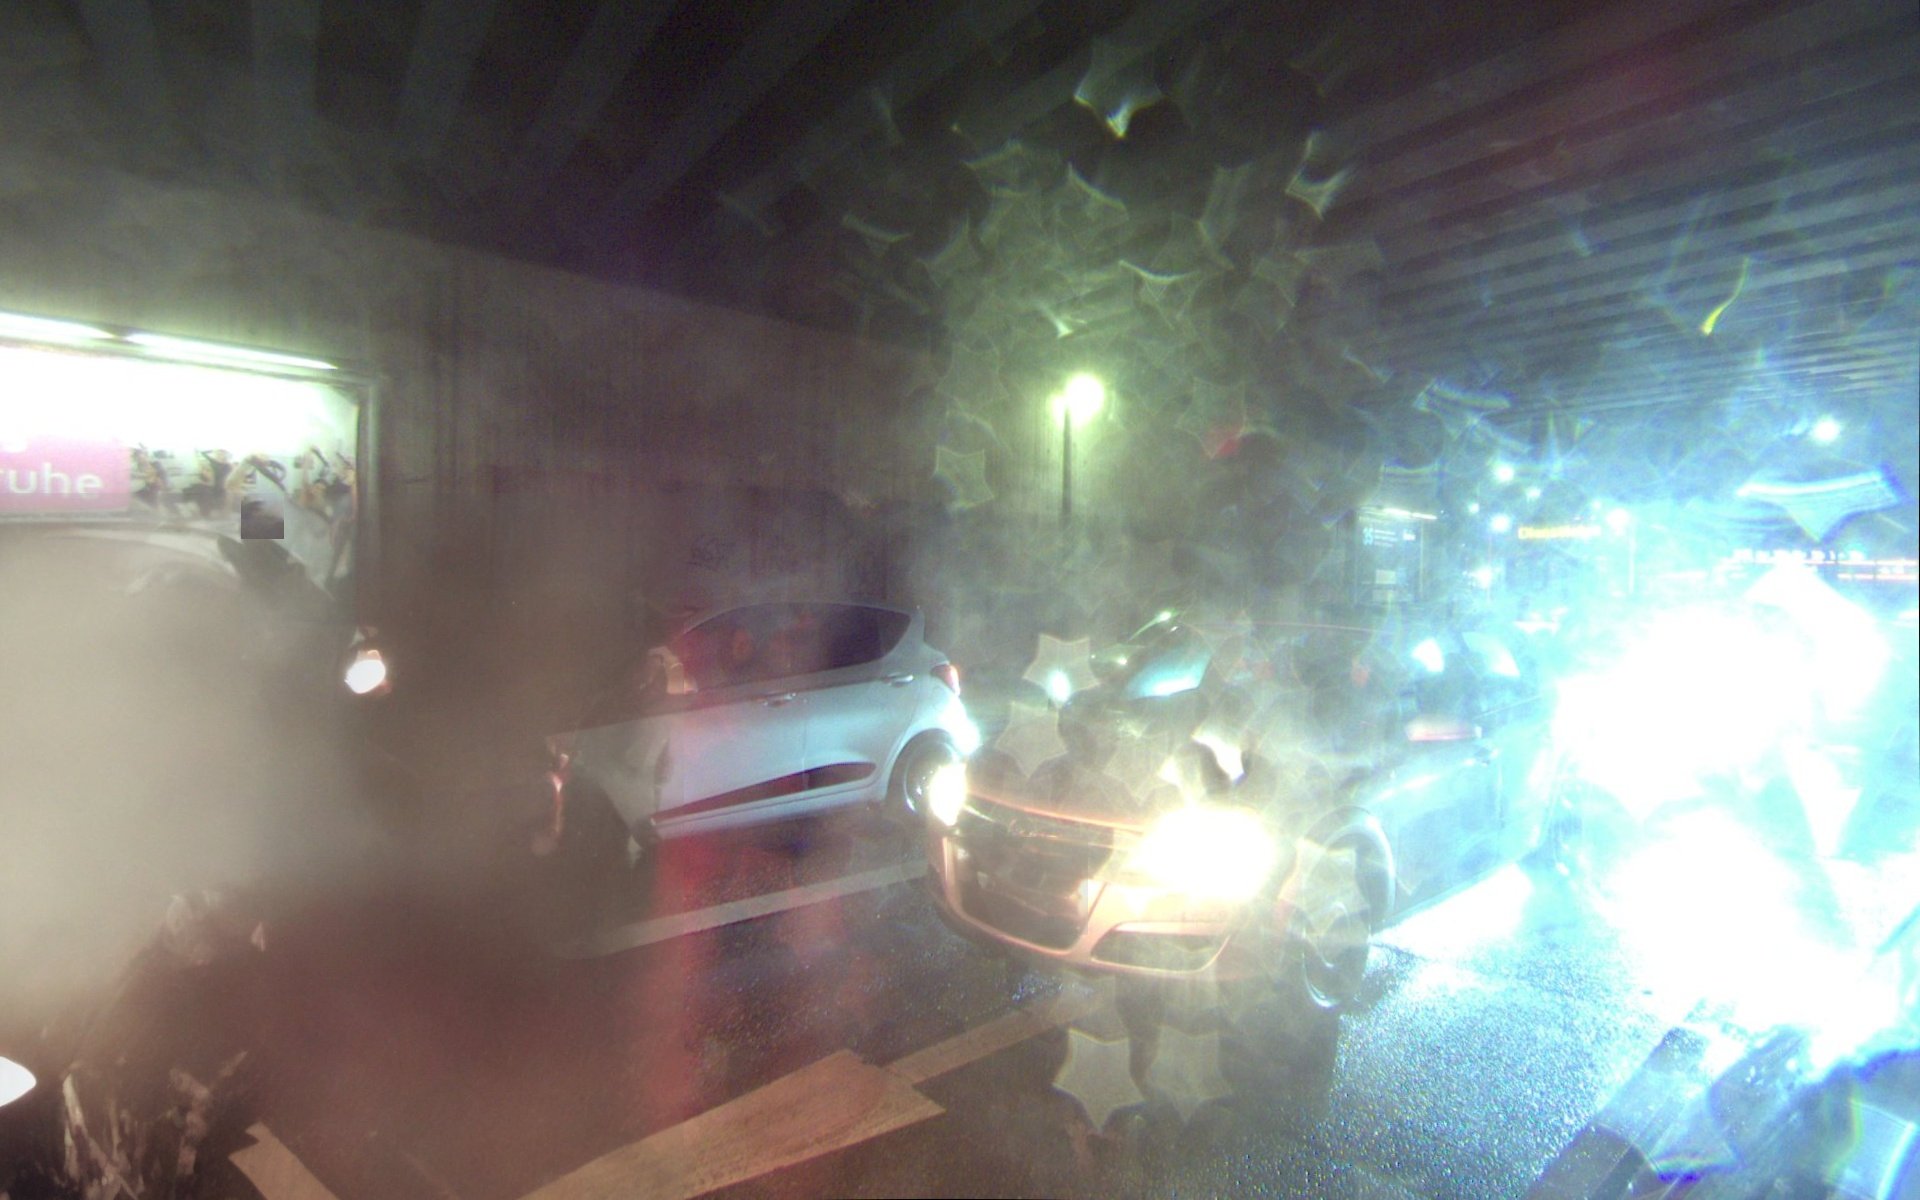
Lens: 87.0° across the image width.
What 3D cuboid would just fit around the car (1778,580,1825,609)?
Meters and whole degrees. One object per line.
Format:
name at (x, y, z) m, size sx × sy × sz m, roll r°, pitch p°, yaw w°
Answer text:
car at (46.163, -0.337, 55.493) m, size 1.720 × 1.505 × 4.098 m, roll 3°, pitch 3°, yaw 42°

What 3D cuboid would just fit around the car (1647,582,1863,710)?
car at (11.140, 0.524, 14.093) m, size 3.906 × 1.481 × 1.696 m, roll -1°, pitch 3°, yaw -42°

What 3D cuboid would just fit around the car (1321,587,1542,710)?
car at (7.156, 0.597, 15.147) m, size 1.721 × 1.505 × 4.096 m, roll 3°, pitch 3°, yaw 44°

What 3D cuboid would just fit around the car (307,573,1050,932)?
car at (-1.477, 0.602, 6.251) m, size 4.091 × 1.464 × 1.723 m, roll -1°, pitch 3°, yaw -42°

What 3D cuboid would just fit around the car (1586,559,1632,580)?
car at (46.352, -2.160, 72.337) m, size 1.685 × 1.407 × 3.979 m, roll 0°, pitch 1°, yaw 17°

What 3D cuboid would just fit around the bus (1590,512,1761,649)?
bus at (20.422, -0.558, 28.588) m, size 2.733 × 3.278 × 9.551 m, roll 1°, pitch 1°, yaw 43°

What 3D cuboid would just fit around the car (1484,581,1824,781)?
car at (6.731, 0.618, 9.641) m, size 4.091 × 1.506 × 1.722 m, roll -1°, pitch -2°, yaw -42°

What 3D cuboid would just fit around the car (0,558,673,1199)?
car at (-2.680, 0.683, 0.990) m, size 4.308 × 1.464 × 1.723 m, roll -1°, pitch 3°, yaw -42°

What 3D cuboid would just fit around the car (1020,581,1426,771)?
car at (2.877, 0.576, 10.376) m, size 4.705 × 1.505 × 1.723 m, roll -1°, pitch 2°, yaw -42°

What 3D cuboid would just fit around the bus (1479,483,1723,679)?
bus at (13.971, -0.407, 21.577) m, size 2.733 × 3.318 × 9.551 m, roll 1°, pitch 1°, yaw 43°

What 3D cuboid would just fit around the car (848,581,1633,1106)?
car at (1.628, 0.650, 4.862) m, size 4.091 × 1.464 × 1.723 m, roll -1°, pitch 2°, yaw -42°

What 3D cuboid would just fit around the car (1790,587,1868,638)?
car at (29.226, 0.369, 34.118) m, size 1.717 × 1.505 × 4.106 m, roll 3°, pitch 3°, yaw 38°

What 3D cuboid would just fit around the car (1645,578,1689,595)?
car at (65.922, -1.271, 94.433) m, size 1.802 × 1.482 × 4.411 m, roll 0°, pitch 1°, yaw 11°
